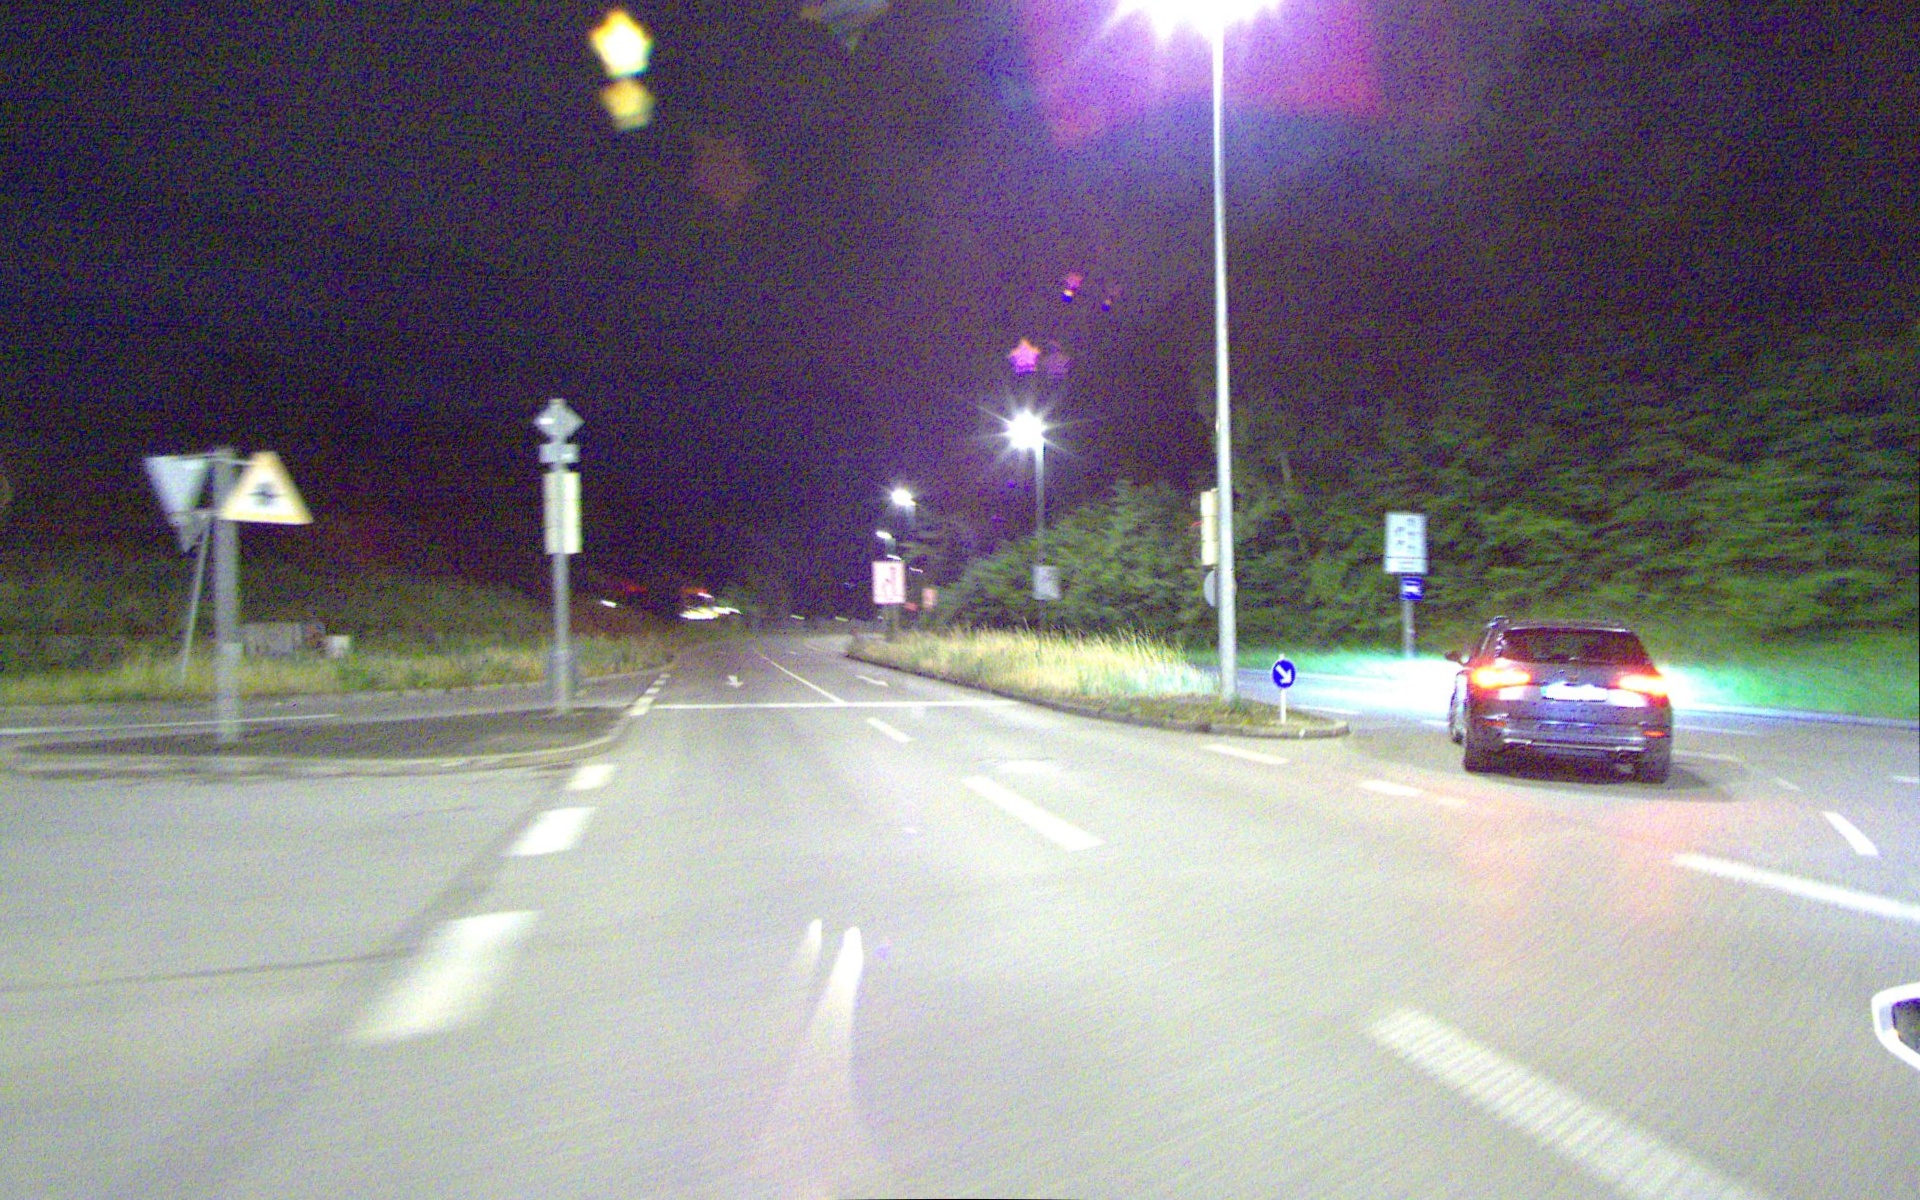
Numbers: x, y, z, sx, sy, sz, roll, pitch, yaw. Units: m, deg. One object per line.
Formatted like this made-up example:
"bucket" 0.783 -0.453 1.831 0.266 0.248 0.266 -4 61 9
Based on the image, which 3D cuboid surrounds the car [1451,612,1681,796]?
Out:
"car" 6.560 0.964 11.093 1.824 1.603 4.000 0 -1 29
